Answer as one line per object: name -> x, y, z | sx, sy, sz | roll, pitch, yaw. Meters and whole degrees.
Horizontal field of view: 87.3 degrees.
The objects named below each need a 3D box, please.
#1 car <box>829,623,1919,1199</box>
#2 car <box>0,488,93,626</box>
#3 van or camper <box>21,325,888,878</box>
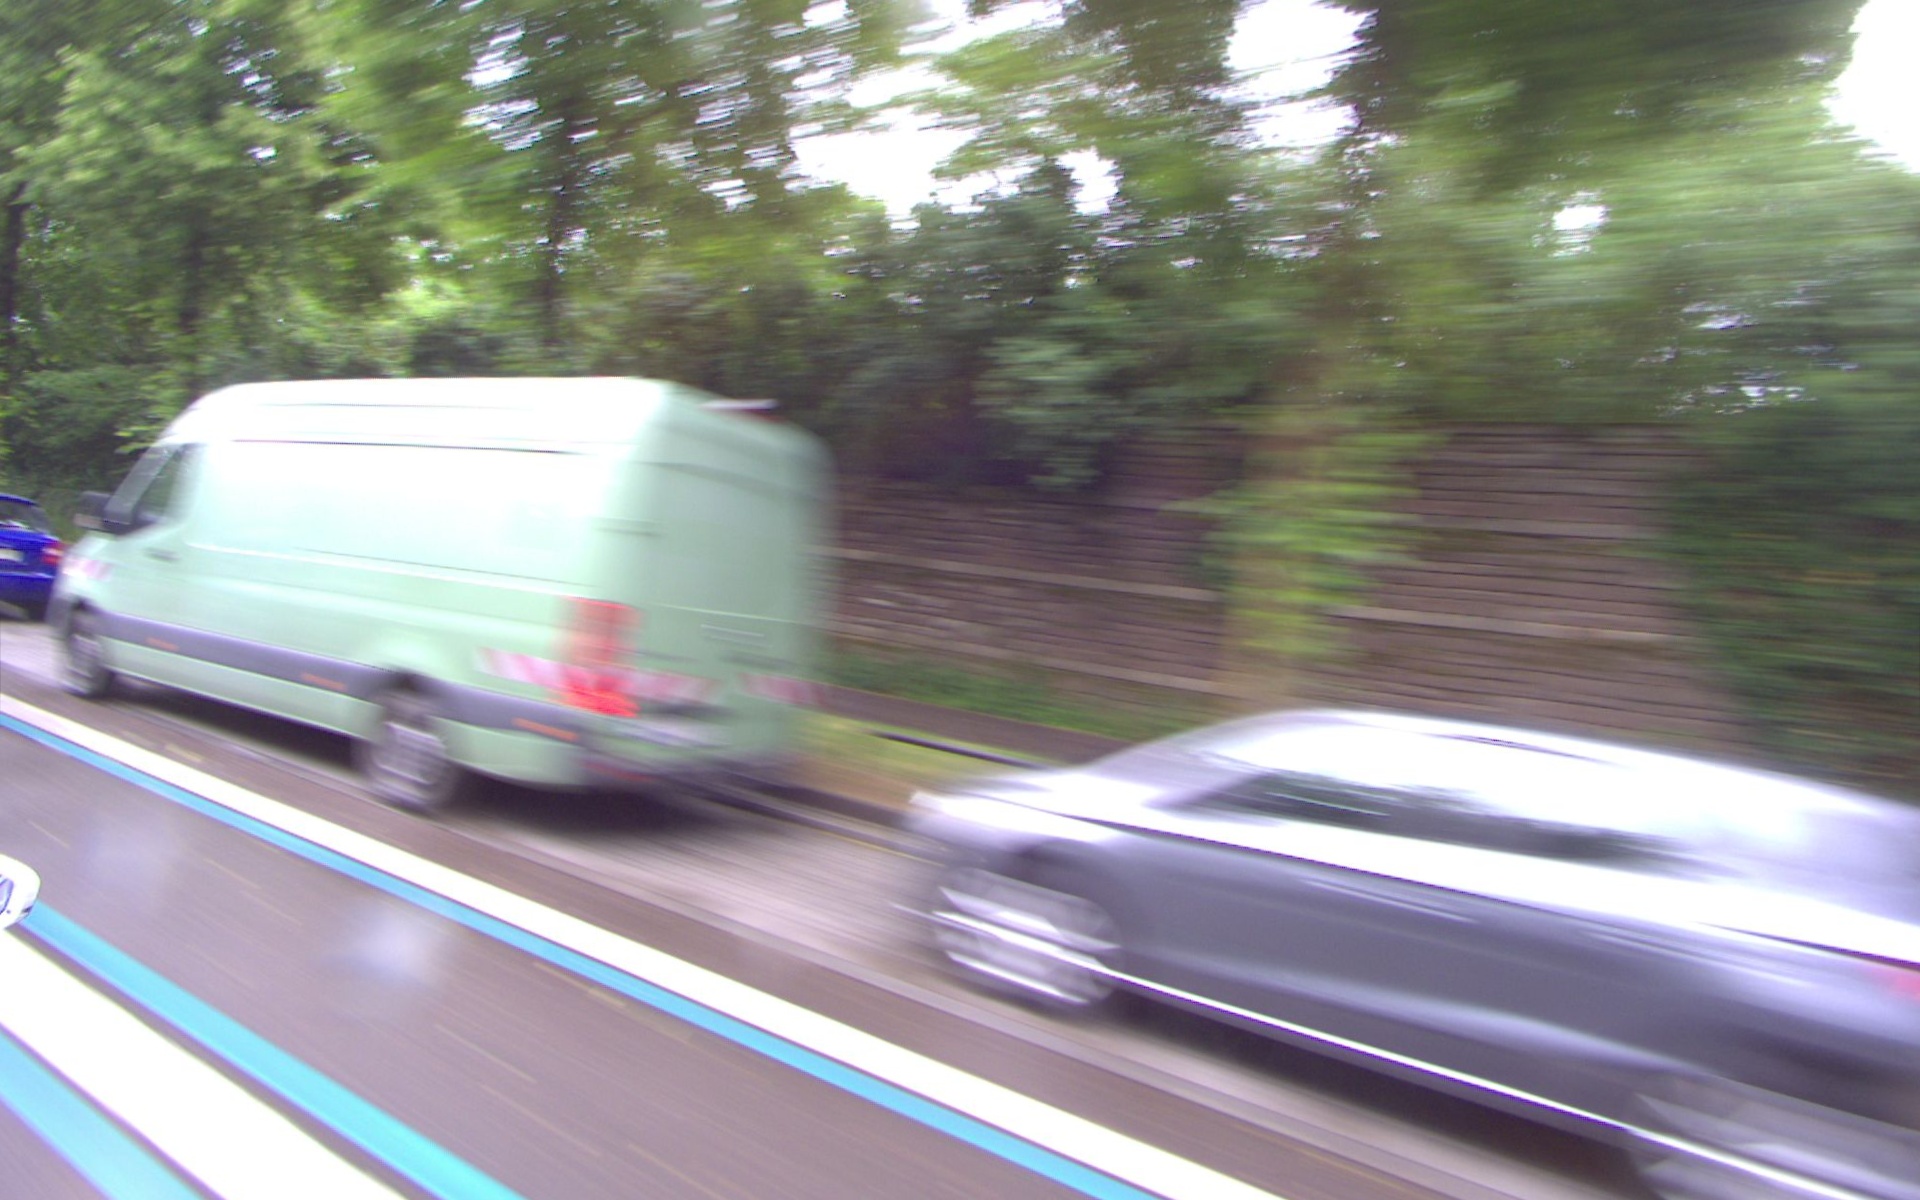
car -> 1.636, 1.102, 4.214 | 4.031, 1.433, 1.689 | 7, -1, 31
car -> -12.762, -0.733, 12.528 | 3.770, 1.531, 1.690 | 7, -2, 30
van or camper -> -4.094, -0.265, 7.520 | 6.781, 2.761, 2.048 | 7, -1, 29
